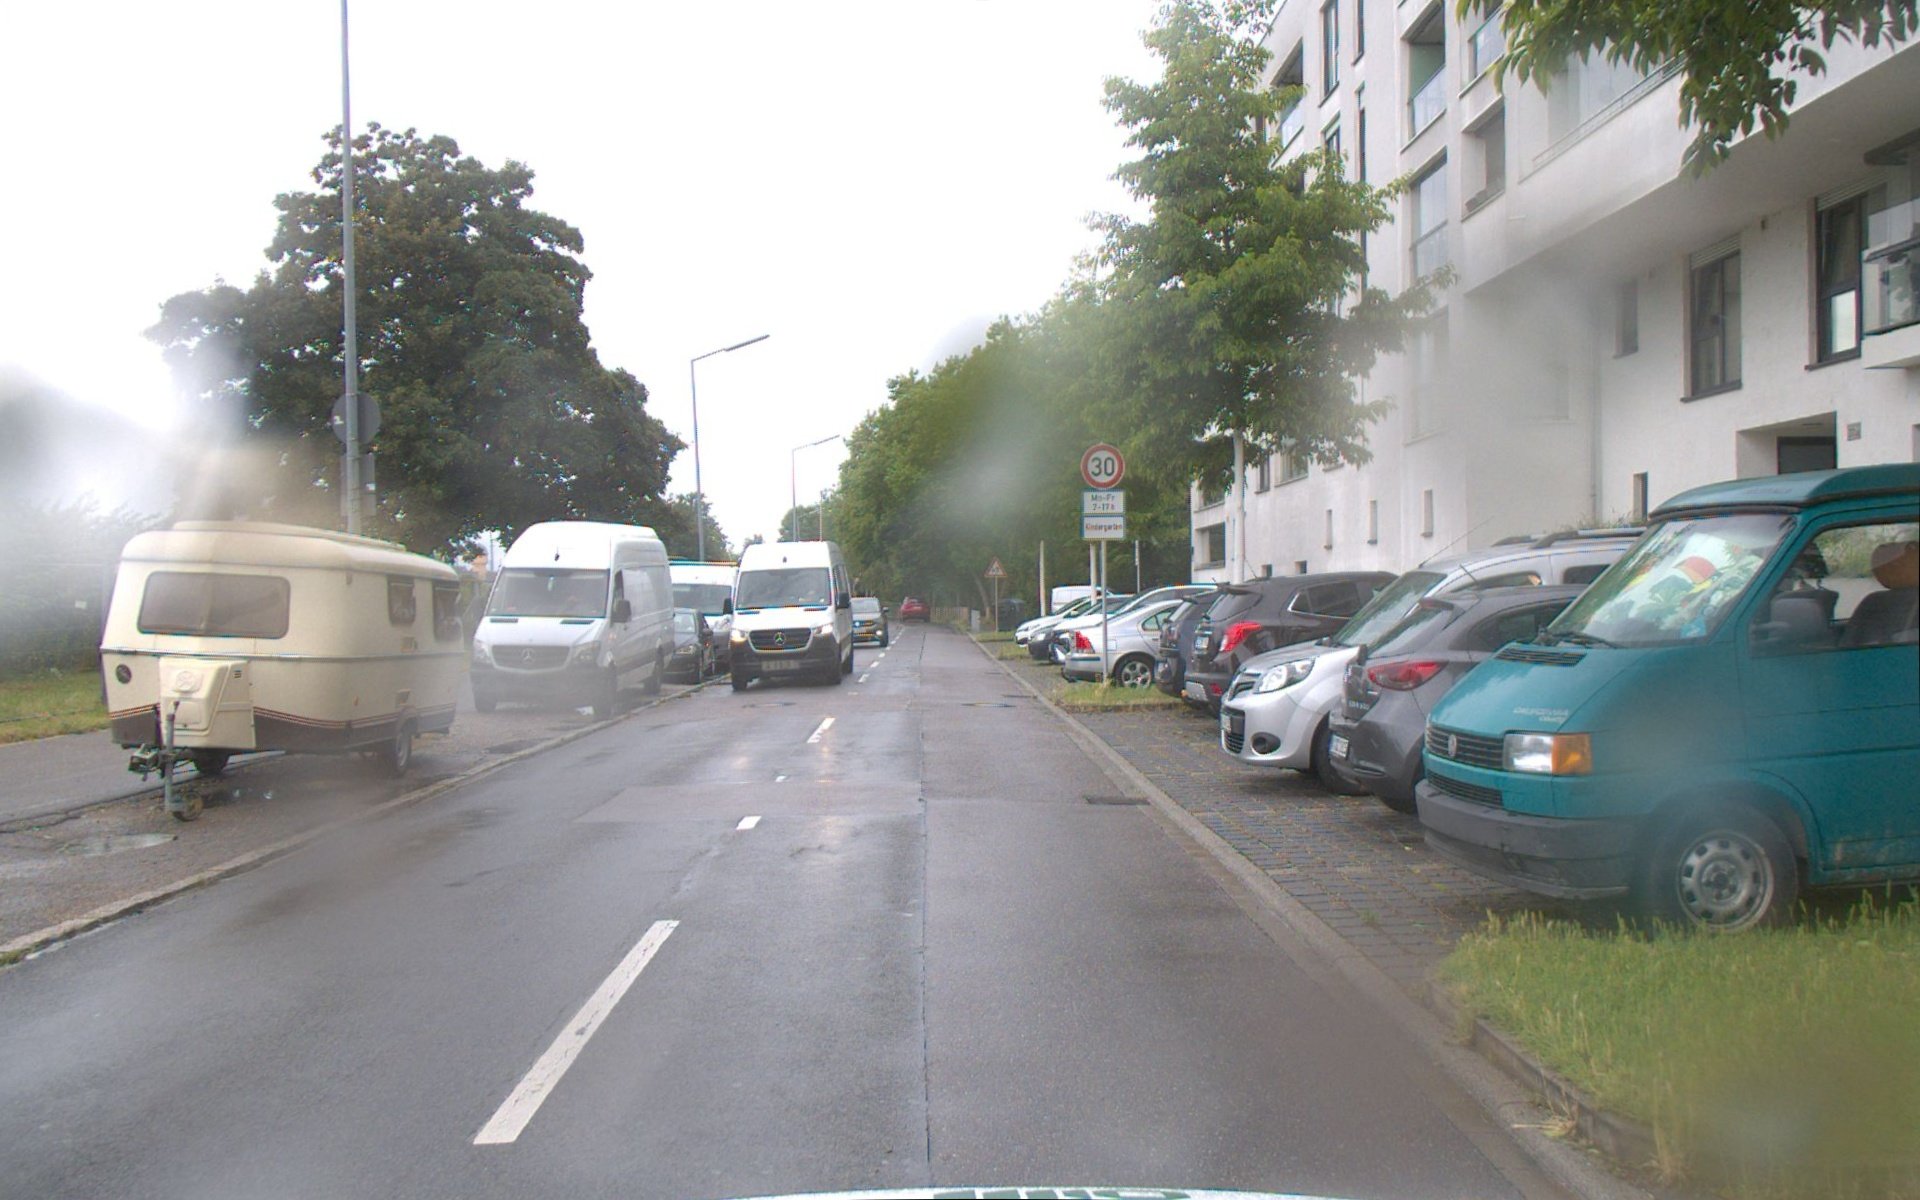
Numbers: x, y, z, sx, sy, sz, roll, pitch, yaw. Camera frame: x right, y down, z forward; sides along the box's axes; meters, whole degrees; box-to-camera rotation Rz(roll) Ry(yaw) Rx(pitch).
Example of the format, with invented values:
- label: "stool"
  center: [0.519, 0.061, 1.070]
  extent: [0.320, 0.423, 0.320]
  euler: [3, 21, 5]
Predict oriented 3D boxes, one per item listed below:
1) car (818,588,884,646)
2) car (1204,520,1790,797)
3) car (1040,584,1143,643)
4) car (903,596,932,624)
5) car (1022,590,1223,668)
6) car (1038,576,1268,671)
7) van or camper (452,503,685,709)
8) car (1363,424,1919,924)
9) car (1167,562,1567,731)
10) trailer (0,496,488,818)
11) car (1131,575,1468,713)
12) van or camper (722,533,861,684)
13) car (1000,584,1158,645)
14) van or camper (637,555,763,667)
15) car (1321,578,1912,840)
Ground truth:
- label: "car"
  center: [-3.451, 0.526, 52.978]
  extent: [1.843, 1.788, 4.068]
  euler: [0, 0, 0]
- label: "car"
  center: [4.068, 0.425, 12.993]
  extent: [4.010, 1.927, 1.726]
  euler: [-1, 0, 0]
- label: "car"
  center: [5.413, 0.551, 68.184]
  extent: [3.904, 2.333, 1.777]
  euler: [1, 0, 19]
- label: "car"
  center: [-2.719, 0.668, 106.220]
  extent: [1.720, 1.736, 4.000]
  euler: [-1, 0, 1]
- label: "car"
  center: [3.619, 0.640, 37.456]
  extent: [4.299, 1.662, 2.005]
  euler: [0, 0, -2]
- label: "car"
  center: [3.780, 0.456, 32.957]
  extent: [4.299, 1.807, 2.005]
  euler: [0, 0, -2]
- label: "van or camper"
  center: [-6.064, 0.096, 26.791]
  extent: [1.953, 2.810, 7.896]
  euler: [1, 0, -1]
- label: "car"
  center: [4.425, 0.289, 7.873]
  extent: [4.526, 2.055, 1.857]
  euler: [0, 0, -3]
- label: "car"
  center: [4.317, 0.465, 17.873]
  extent: [3.808, 1.711, 1.861]
  euler: [0, 0, -7]
- label: "trailer"
  center: [-5.926, 0.407, 14.684]
  extent: [2.017, 2.256, 5.791]
  euler: [1, 0, -3]
- label: "car"
  center: [4.242, 0.530, 21.017]
  extent: [3.808, 1.628, 1.861]
  euler: [0, 0, -7]
- label: "van or camper"
  center: [-3.106, 0.149, 32.001]
  extent: [1.953, 2.541, 7.177]
  euler: [-1, 0, 0]
- label: "car"
  center: [3.220, 0.387, 45.286]
  extent: [4.015, 1.602, 1.864]
  euler: [0, 0, -8]
- label: "van or camper"
  center: [-6.270, 0.273, 40.645]
  extent: [2.145, 2.505, 6.375]
  euler: [1, 0, -1]
- label: "car"
  center: [4.011, 0.631, 10.362]
  extent: [3.189, 1.508, 1.317]
  euler: [0, 0, -3]
